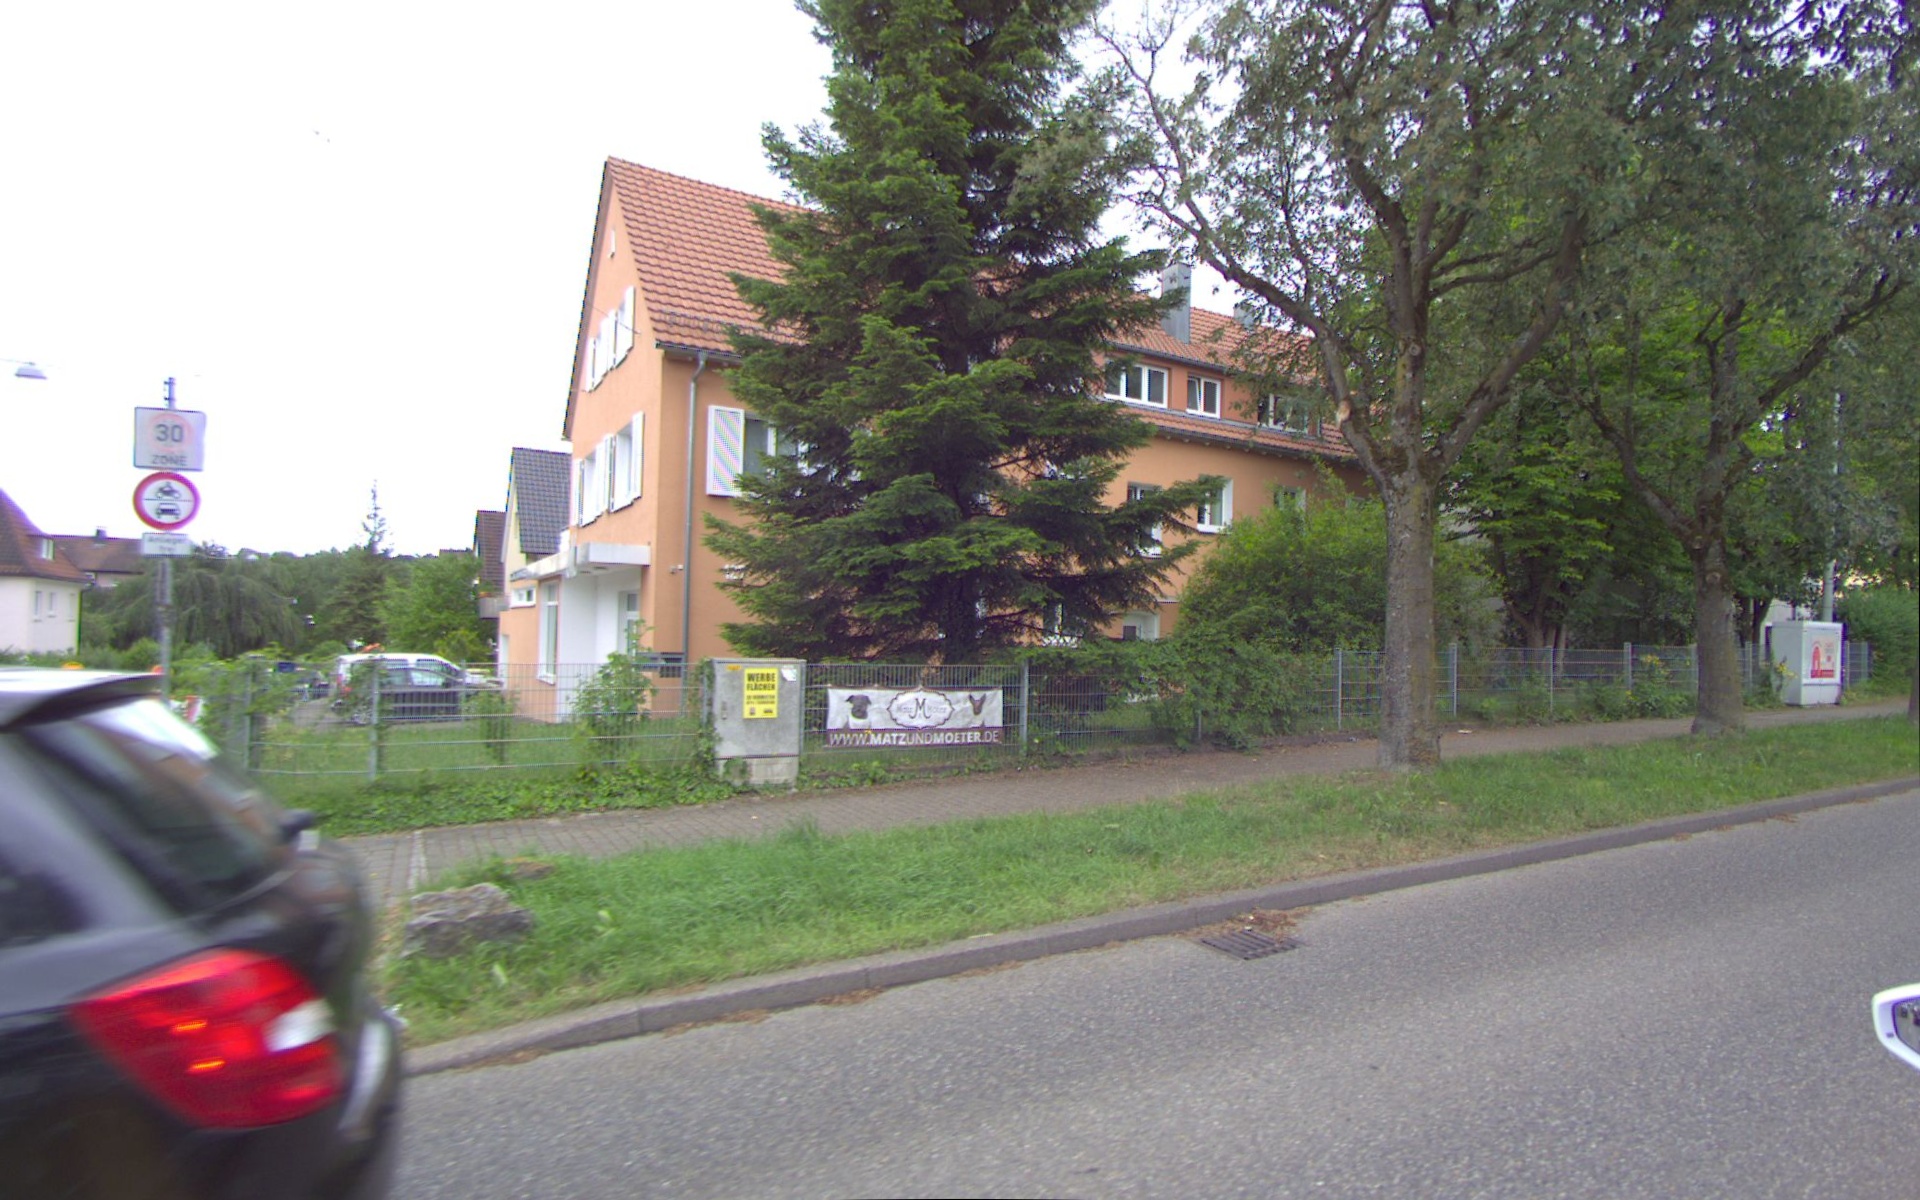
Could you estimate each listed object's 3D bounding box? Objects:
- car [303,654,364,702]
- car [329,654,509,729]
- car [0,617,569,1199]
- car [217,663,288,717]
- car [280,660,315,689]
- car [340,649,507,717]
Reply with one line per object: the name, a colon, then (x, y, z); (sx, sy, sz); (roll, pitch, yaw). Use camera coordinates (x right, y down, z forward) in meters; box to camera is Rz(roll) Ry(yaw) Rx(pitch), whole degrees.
car: (-23.925, 2.933, 38.455); (1.871, 1.639, 3.966); (2, -2, -31)
car: (-13.955, 2.315, 26.048); (3.953, 1.784, 1.848); (2, -4, -30)
car: (-2.624, 0.760, 1.397); (3.697, 1.489, 1.538); (1, -1, -30)
car: (-25.046, 3.158, 35.661); (1.671, 1.795, 3.376); (1, -4, -29)
car: (-42.406, 4.742, 64.353); (1.614, 1.795, 3.376); (1, -4, -29)
car: (-15.103, 2.295, 28.388); (4.012, 1.784, 1.812); (2, -4, -30)
